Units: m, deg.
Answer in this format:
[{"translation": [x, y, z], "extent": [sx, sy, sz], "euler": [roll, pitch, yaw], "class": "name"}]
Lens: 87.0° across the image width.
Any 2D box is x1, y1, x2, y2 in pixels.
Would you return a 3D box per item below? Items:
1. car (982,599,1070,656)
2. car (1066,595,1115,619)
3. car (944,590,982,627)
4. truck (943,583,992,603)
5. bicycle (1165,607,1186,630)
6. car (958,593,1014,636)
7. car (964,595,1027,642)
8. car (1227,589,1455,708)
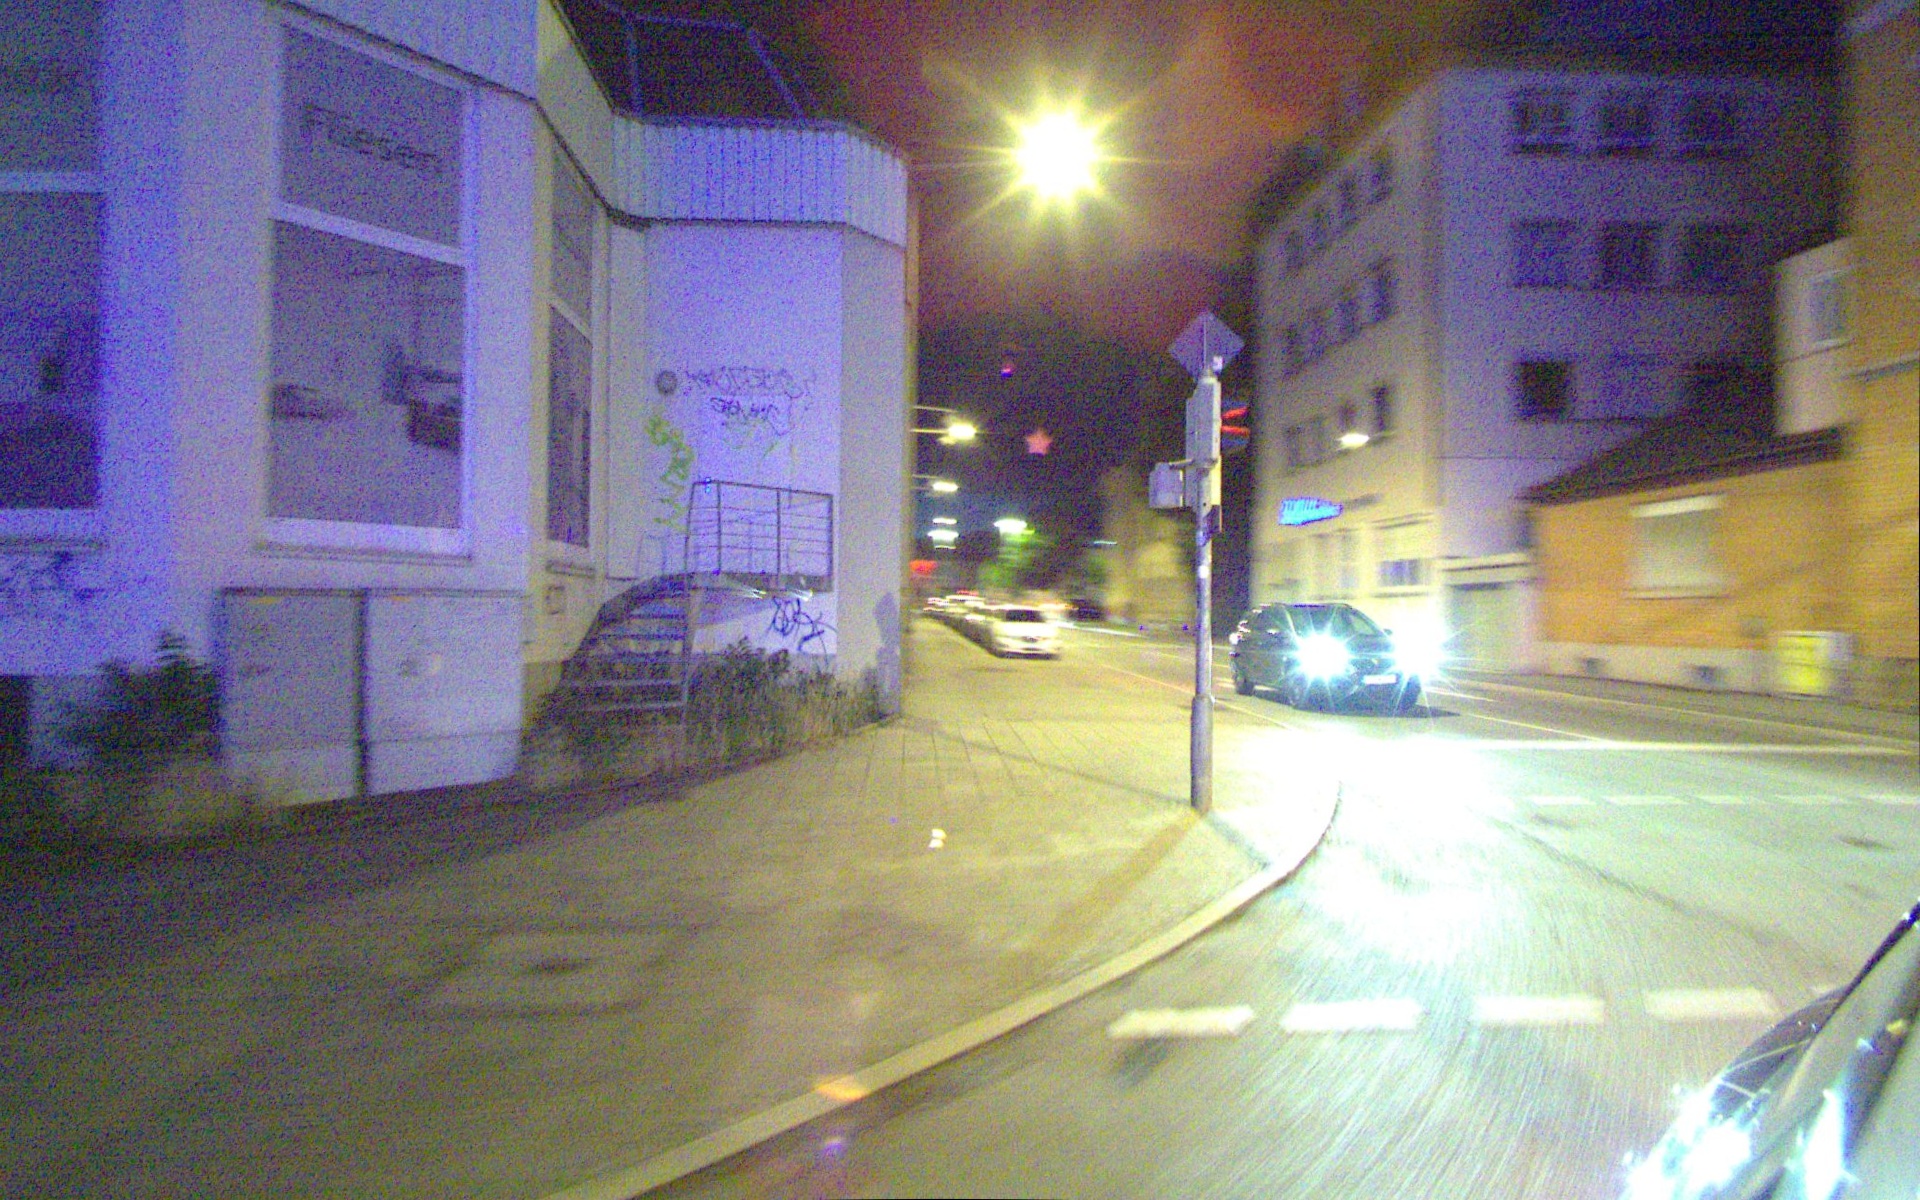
[{"translation": [1.827, 0.731, 29.450], "extent": [1.828, 1.507, 4.551], "euler": [0, 0, -5], "class": "car"}, {"translation": [10.823, 0.572, 83.896], "extent": [3.936, 1.913, 1.903], "euler": [0, 0, 10], "class": "car"}, {"translation": [0.100, 0.455, 56.539], "extent": [1.771, 1.899, 4.776], "euler": [2, -1, -3], "class": "car"}, {"translation": [1.403, -1.353, 195.628], "extent": [9.218, 3.769, 1.992], "euler": [0, 0, 14], "class": "truck"}, {"translation": [10.488, 0.899, 49.284], "extent": [0.609, 1.065, 1.722], "euler": [0, 0, -2], "class": "bicycle"}, {"translation": [1.015, 0.578, 42.351], "extent": [1.793, 1.643, 4.461], "euler": [1, -1, -5], "class": "car"}, {"translation": [1.225, 0.626, 37.073], "extent": [1.745, 1.563, 4.551], "euler": [0, 0, -5], "class": "car"}, {"translation": [5.896, 0.685, 16.249], "extent": [1.961, 1.637, 4.002], "euler": [1, 0, -3], "class": "car"}]
